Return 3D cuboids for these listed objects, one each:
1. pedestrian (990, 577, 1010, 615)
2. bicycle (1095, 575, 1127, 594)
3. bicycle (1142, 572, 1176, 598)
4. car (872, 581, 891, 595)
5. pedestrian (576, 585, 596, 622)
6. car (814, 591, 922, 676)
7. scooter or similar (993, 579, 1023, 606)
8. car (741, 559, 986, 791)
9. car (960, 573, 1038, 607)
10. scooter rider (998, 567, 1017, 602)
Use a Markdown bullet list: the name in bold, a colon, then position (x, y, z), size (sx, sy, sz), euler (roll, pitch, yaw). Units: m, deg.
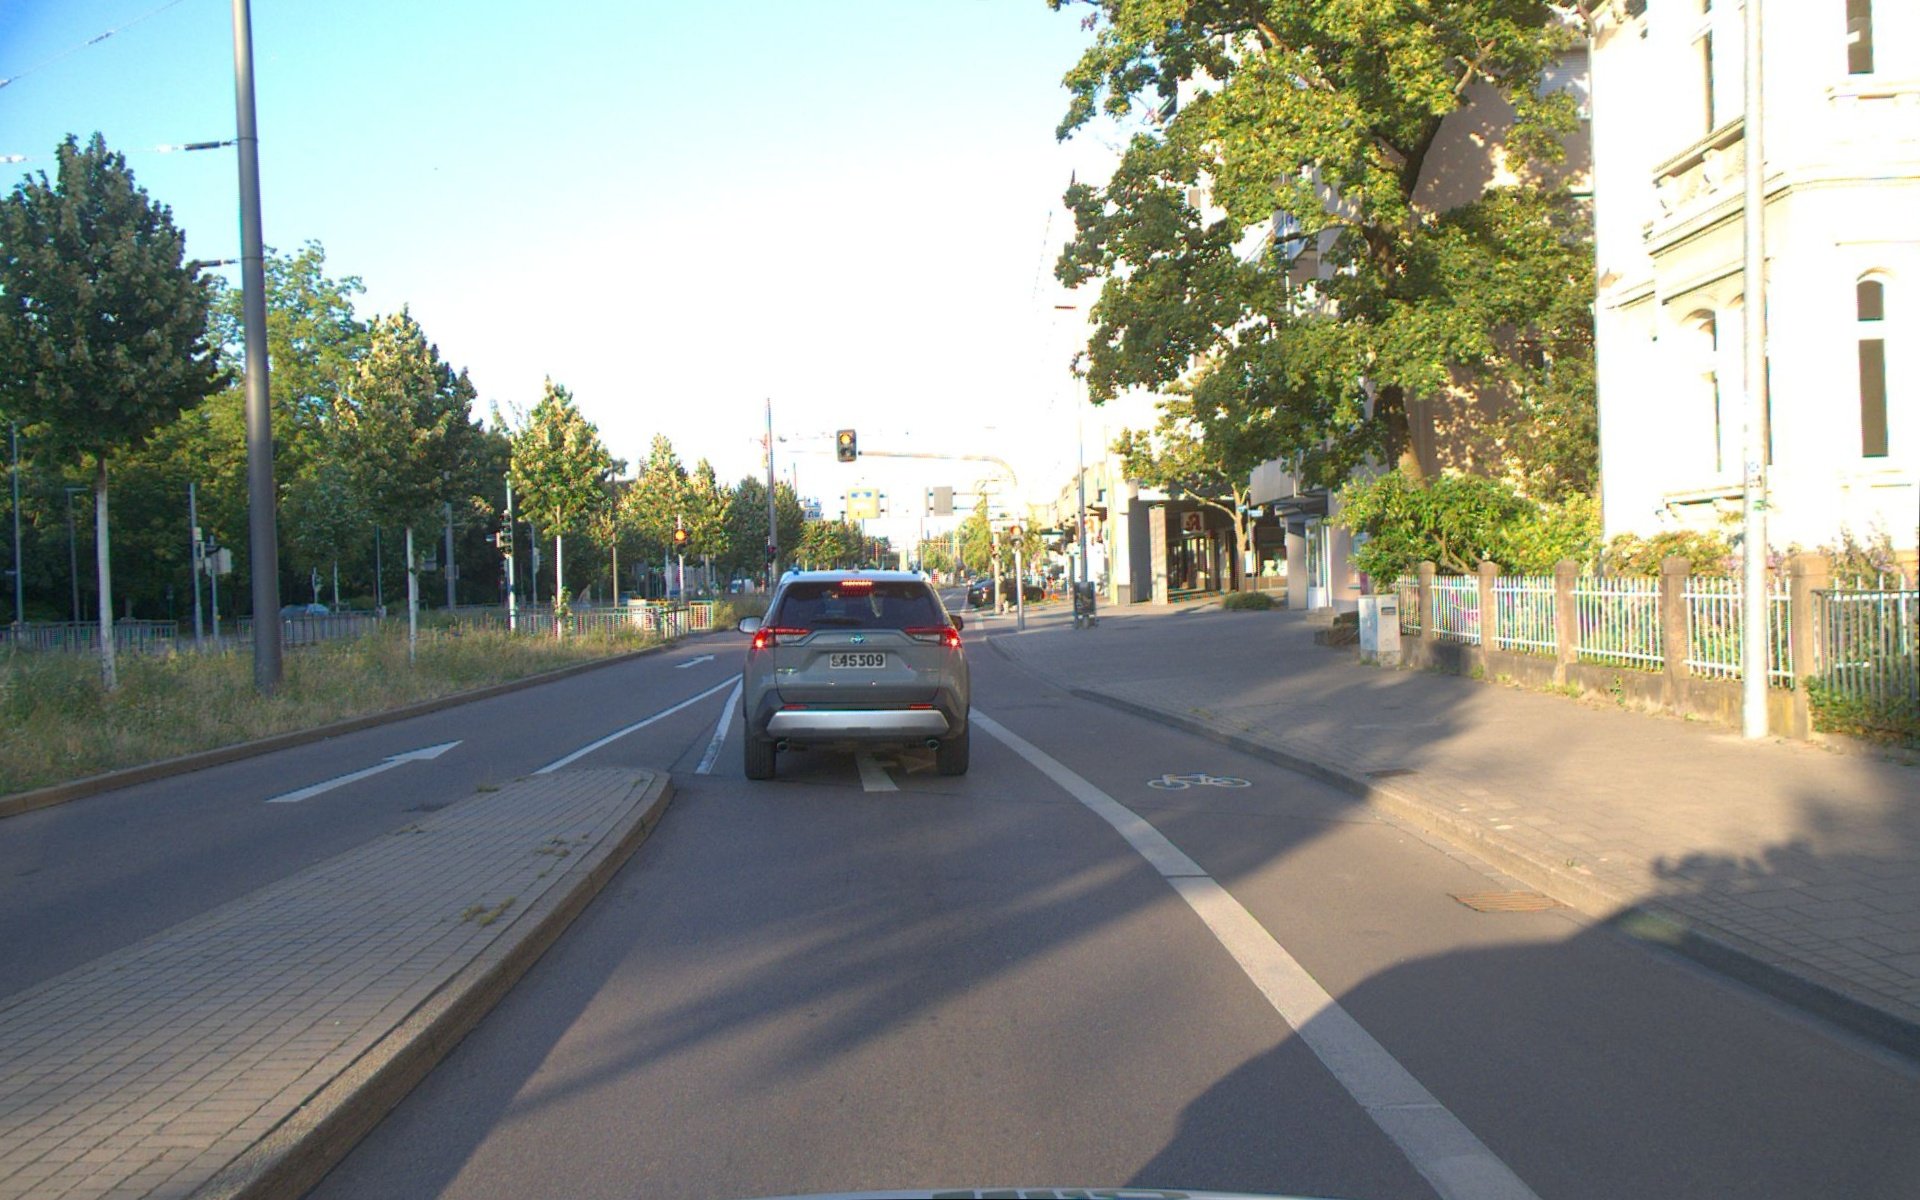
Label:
- **pedestrian**: position (1.764, -0.191, 72.700), size (0.818, 1.614, 0.812), euler (-2, 0, 0)
- **bicycle**: position (9.349, -0.964, 102.452), size (1.974, 1.169, 0.691), euler (1, 0, 5)
- **bicycle**: position (9.000, -0.680, 74.802), size (0.678, 1.169, 2.011), euler (1, 0, -20)
- **car**: position (-8.521, -1.309, 179.779), size (1.939, 1.458, 4.842), euler (-1, 2, -2)
- **pedestrian**: position (-18.203, 0.155, 80.484), size (0.818, 1.741, 0.647), euler (-2, 0, -3)
- **car**: position (-1.992, 0.631, 34.528), size (1.896, 1.507, 4.515), euler (-1, 2, -8)
- **scooter or similar**: position (2.160, -0.349, 74.959), size (1.302, 1.173, 0.513), euler (-2, 0, 0)
- **car**: position (-0.897, 0.506, 14.564), size (1.818, 1.687, 4.265), euler (-1, 2, -5)
- **car**: position (2.167, -0.554, 89.962), size (4.237, 1.687, 1.830), euler (-2, 3, -44)
- **scooter rider**: position (2.141, -0.706, 74.958), size (0.803, 1.540, 0.653), euler (-2, 0, 1)
